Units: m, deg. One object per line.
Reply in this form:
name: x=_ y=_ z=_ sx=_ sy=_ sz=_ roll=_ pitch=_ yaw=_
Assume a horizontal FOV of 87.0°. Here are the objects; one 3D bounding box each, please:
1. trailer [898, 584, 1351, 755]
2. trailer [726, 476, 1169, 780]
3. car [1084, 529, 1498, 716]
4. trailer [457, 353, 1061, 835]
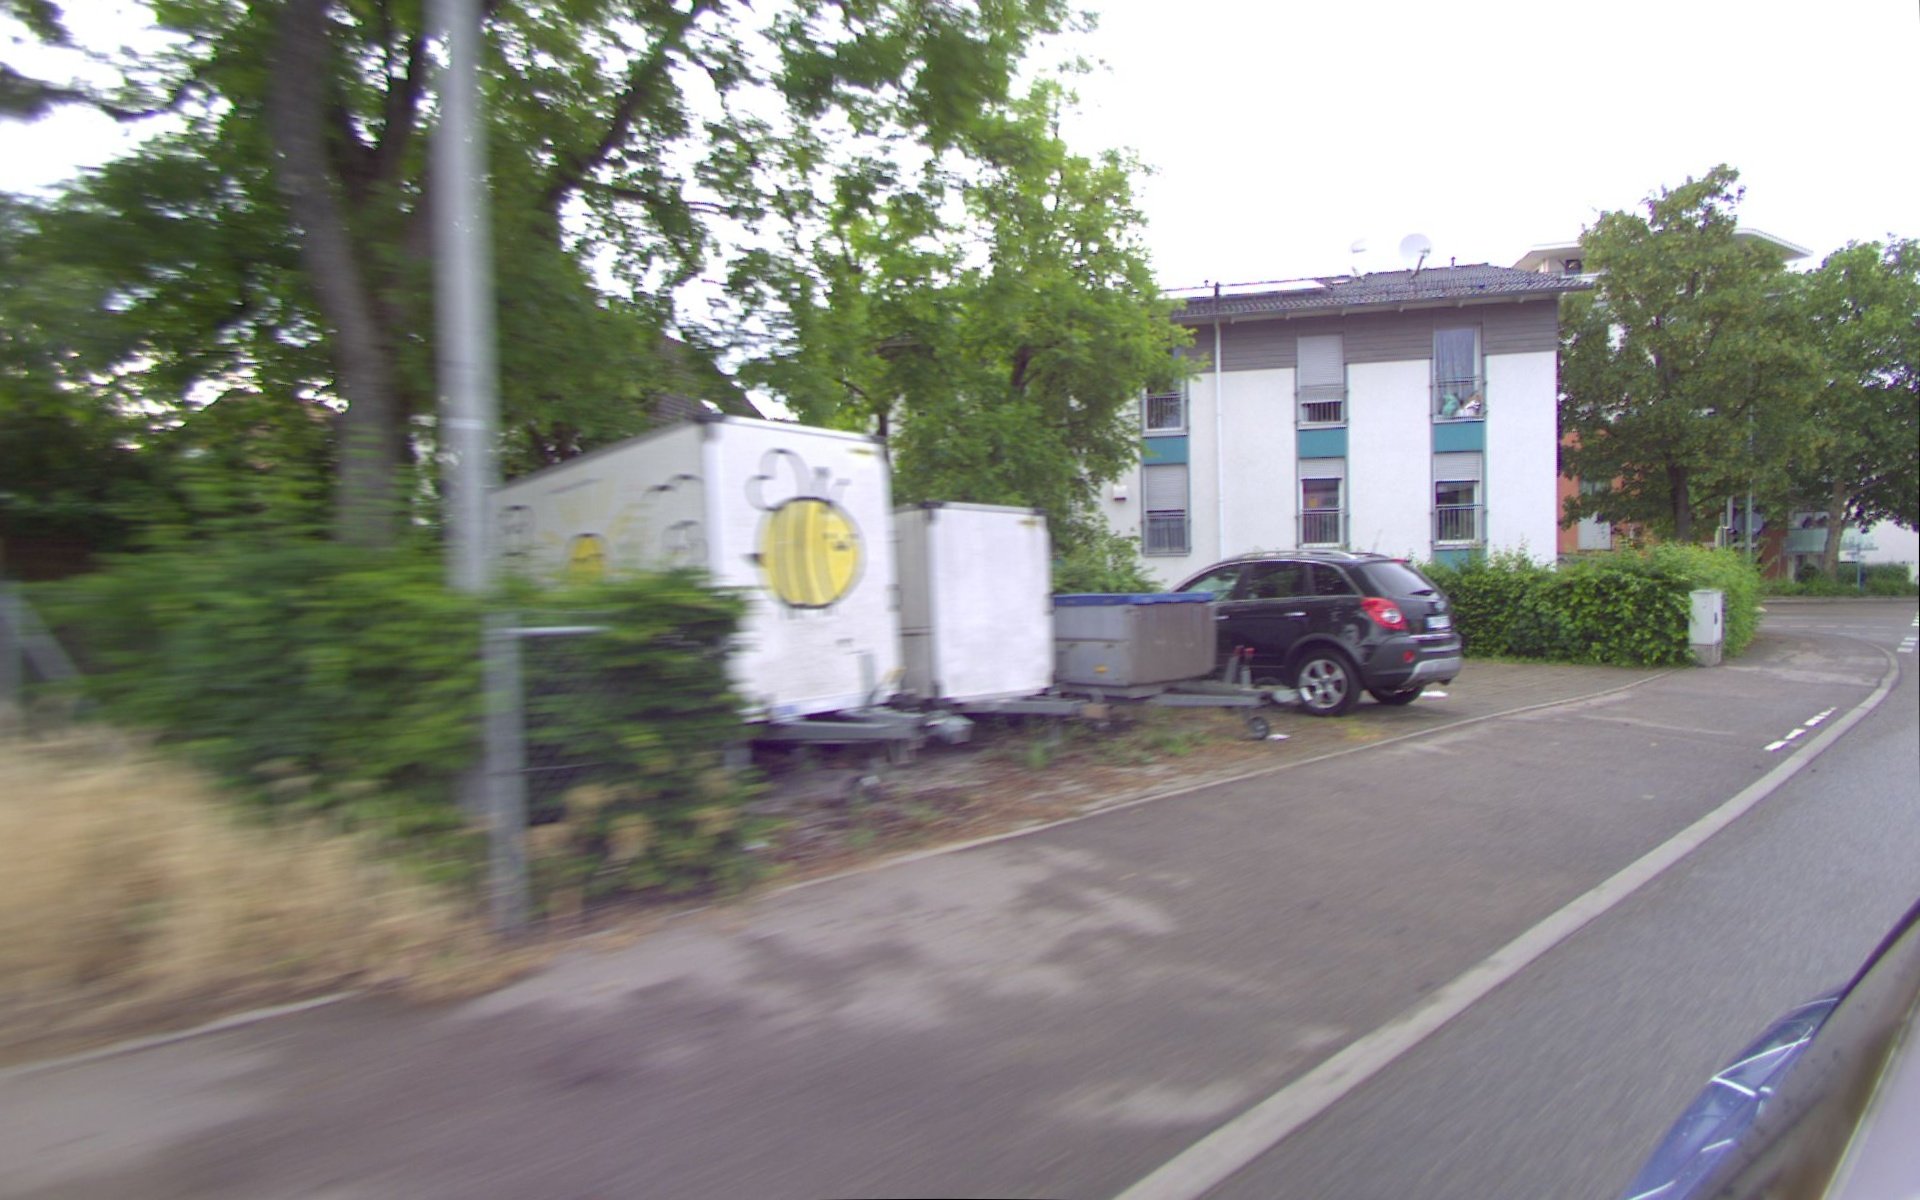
trailer: x=1.372 y=0.517 z=9.959 sx=1.545 sy=1.304 sz=4.402 roll=1 pitch=0 yaw=-42
trailer: x=-0.305 y=0.188 z=8.848 sx=1.658 sy=2.047 sz=3.956 roll=-1 pitch=0 yaw=-43
car: x=3.684 y=0.186 z=11.858 sx=1.949 sy=1.772 sz=4.220 roll=1 pitch=0 yaw=-41
trailer: x=-1.676 y=-0.041 z=7.327 sx=4.529 sy=2.431 sz=1.921 roll=0 pitch=0 yaw=41
